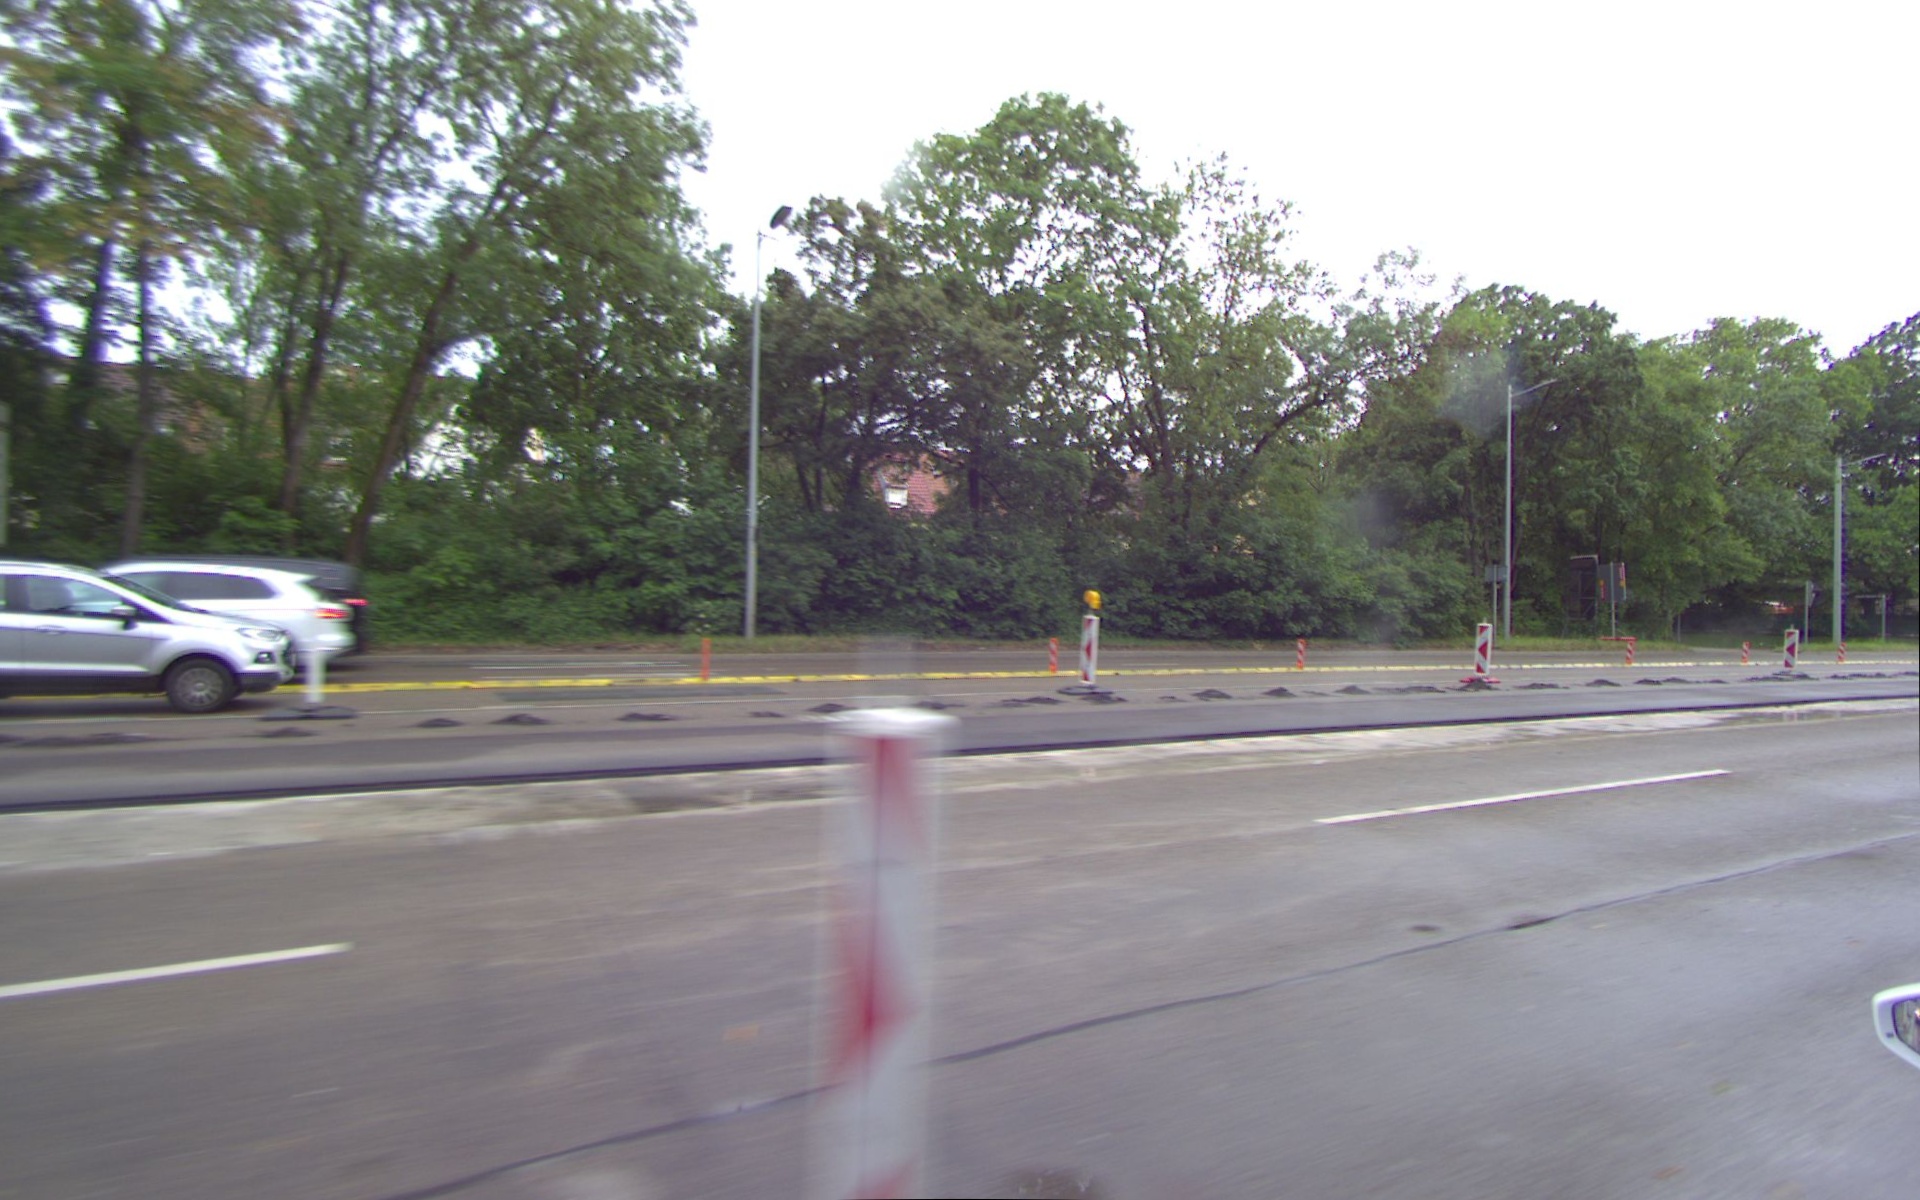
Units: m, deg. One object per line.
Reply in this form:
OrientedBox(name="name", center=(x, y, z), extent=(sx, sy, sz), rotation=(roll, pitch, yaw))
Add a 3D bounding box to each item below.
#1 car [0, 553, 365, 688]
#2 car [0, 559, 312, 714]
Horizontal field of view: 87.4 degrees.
OrientedBox(name="car", center=(-11.195, 0.291, 14.091), extent=(4.837, 1.683, 1.880), rotation=(2, 0, -31))
OrientedBox(name="car", center=(-9.924, 0.359, 11.256), extent=(4.312, 1.585, 1.880), rotation=(2, 1, -30))
